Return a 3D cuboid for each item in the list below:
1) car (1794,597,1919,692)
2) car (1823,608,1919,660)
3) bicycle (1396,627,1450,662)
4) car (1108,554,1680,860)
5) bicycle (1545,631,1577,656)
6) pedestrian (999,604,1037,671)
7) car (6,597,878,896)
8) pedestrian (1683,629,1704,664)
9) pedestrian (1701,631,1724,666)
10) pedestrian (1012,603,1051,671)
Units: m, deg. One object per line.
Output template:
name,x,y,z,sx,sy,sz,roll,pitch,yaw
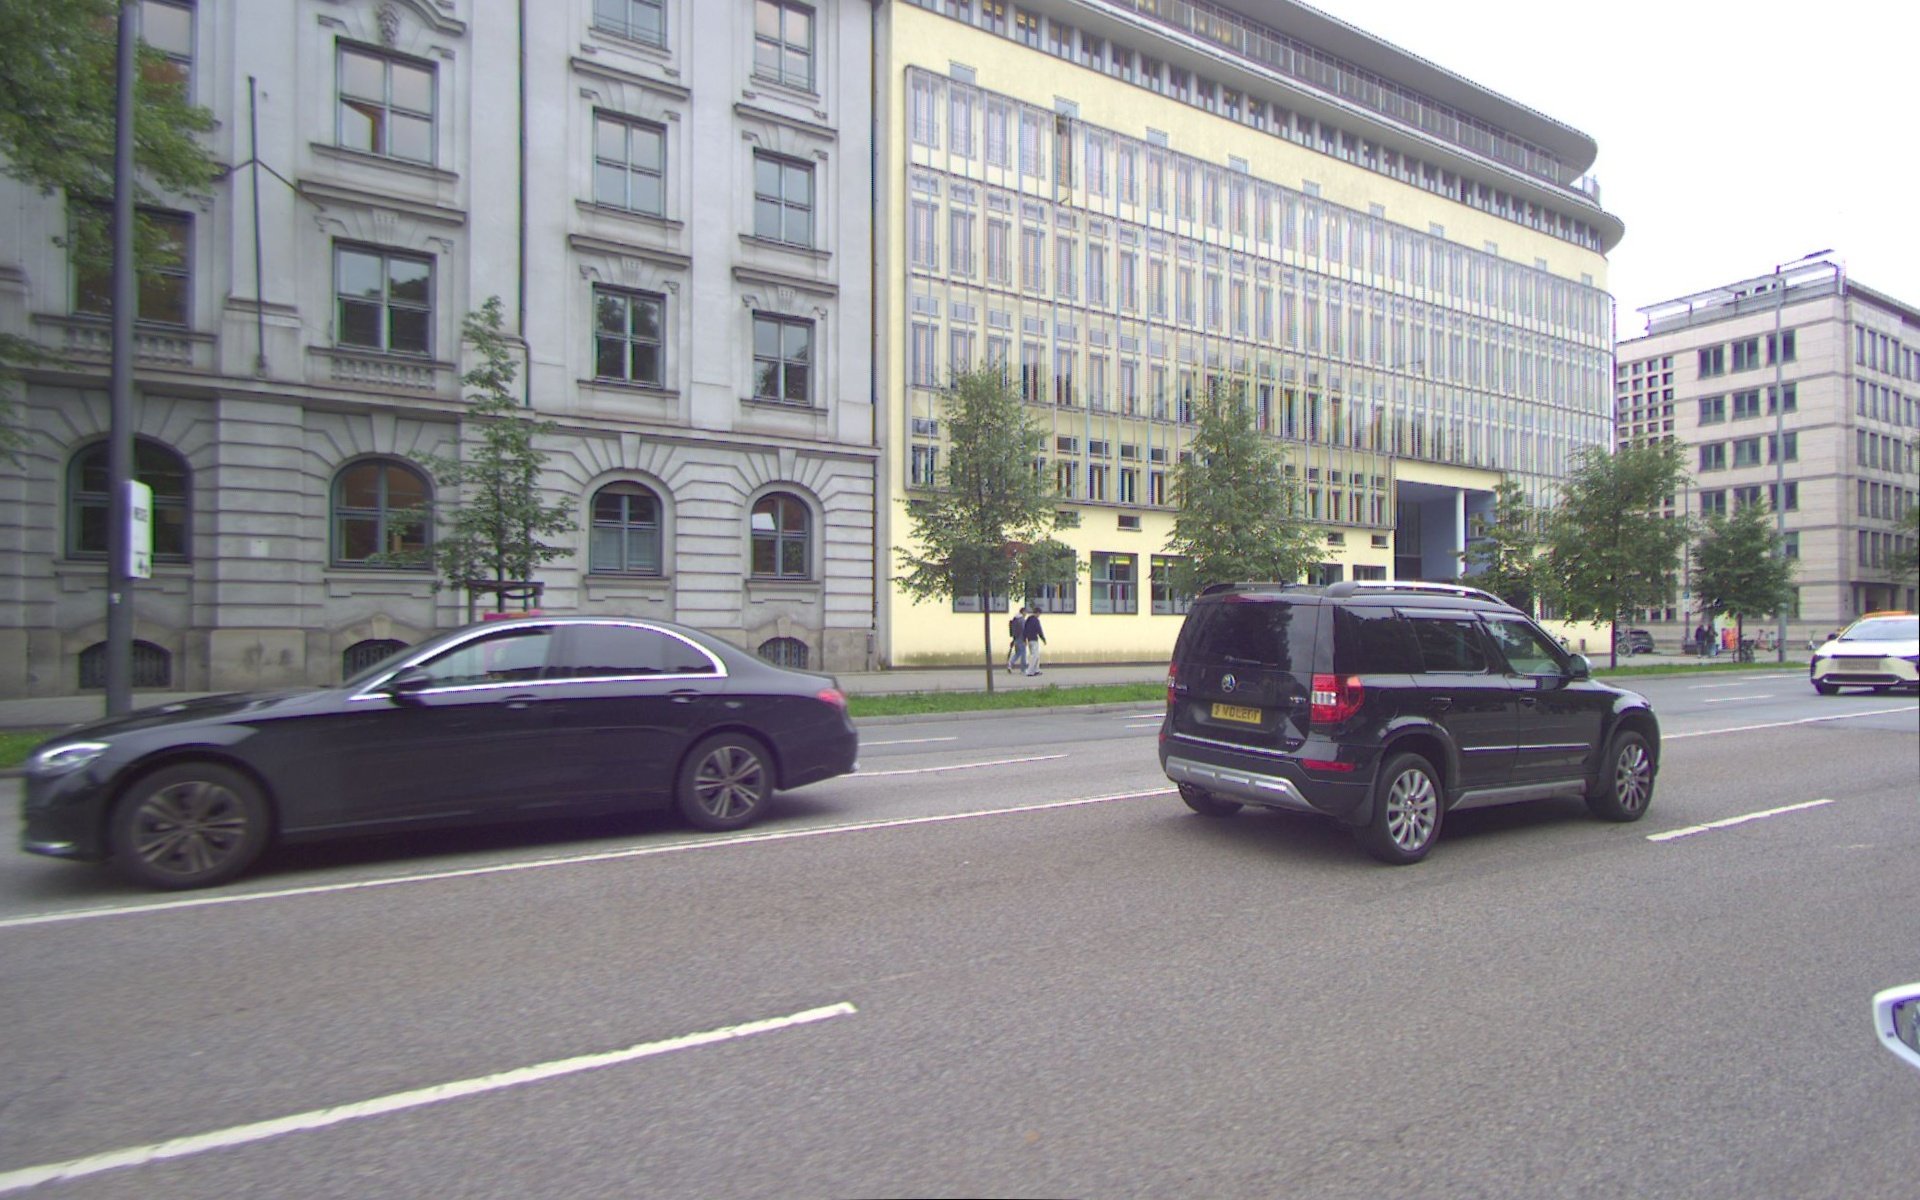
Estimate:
car,19.435,0.905,20.793,4.575,1.771,1.849,1,-3,-30
car,47.989,1.717,51.246,2.134,2.570,5.647,1,-2,-33
bicycle,19.020,1.798,41.287,0.569,1.336,1.995,1,0,-35
car,3.236,0.644,7.259,4.156,1.658,1.714,2,-2,-31
bicycle,26.233,1.898,43.852,1.577,1.026,0.569,1,0,-34
pedestrian,1.604,1.019,27.639,0.826,1.800,0.612,1,0,-30
car,-3.047,0.790,6.856,4.693,1.441,1.758,1,-3,-31
pedestrian,39.091,2.470,53.539,0.665,1.799,0.680,1,0,-26
pedestrian,39.679,2.553,52.981,0.773,1.799,0.680,1,0,-26
pedestrian,1.927,0.993,27.074,0.826,1.800,0.612,1,0,-30
